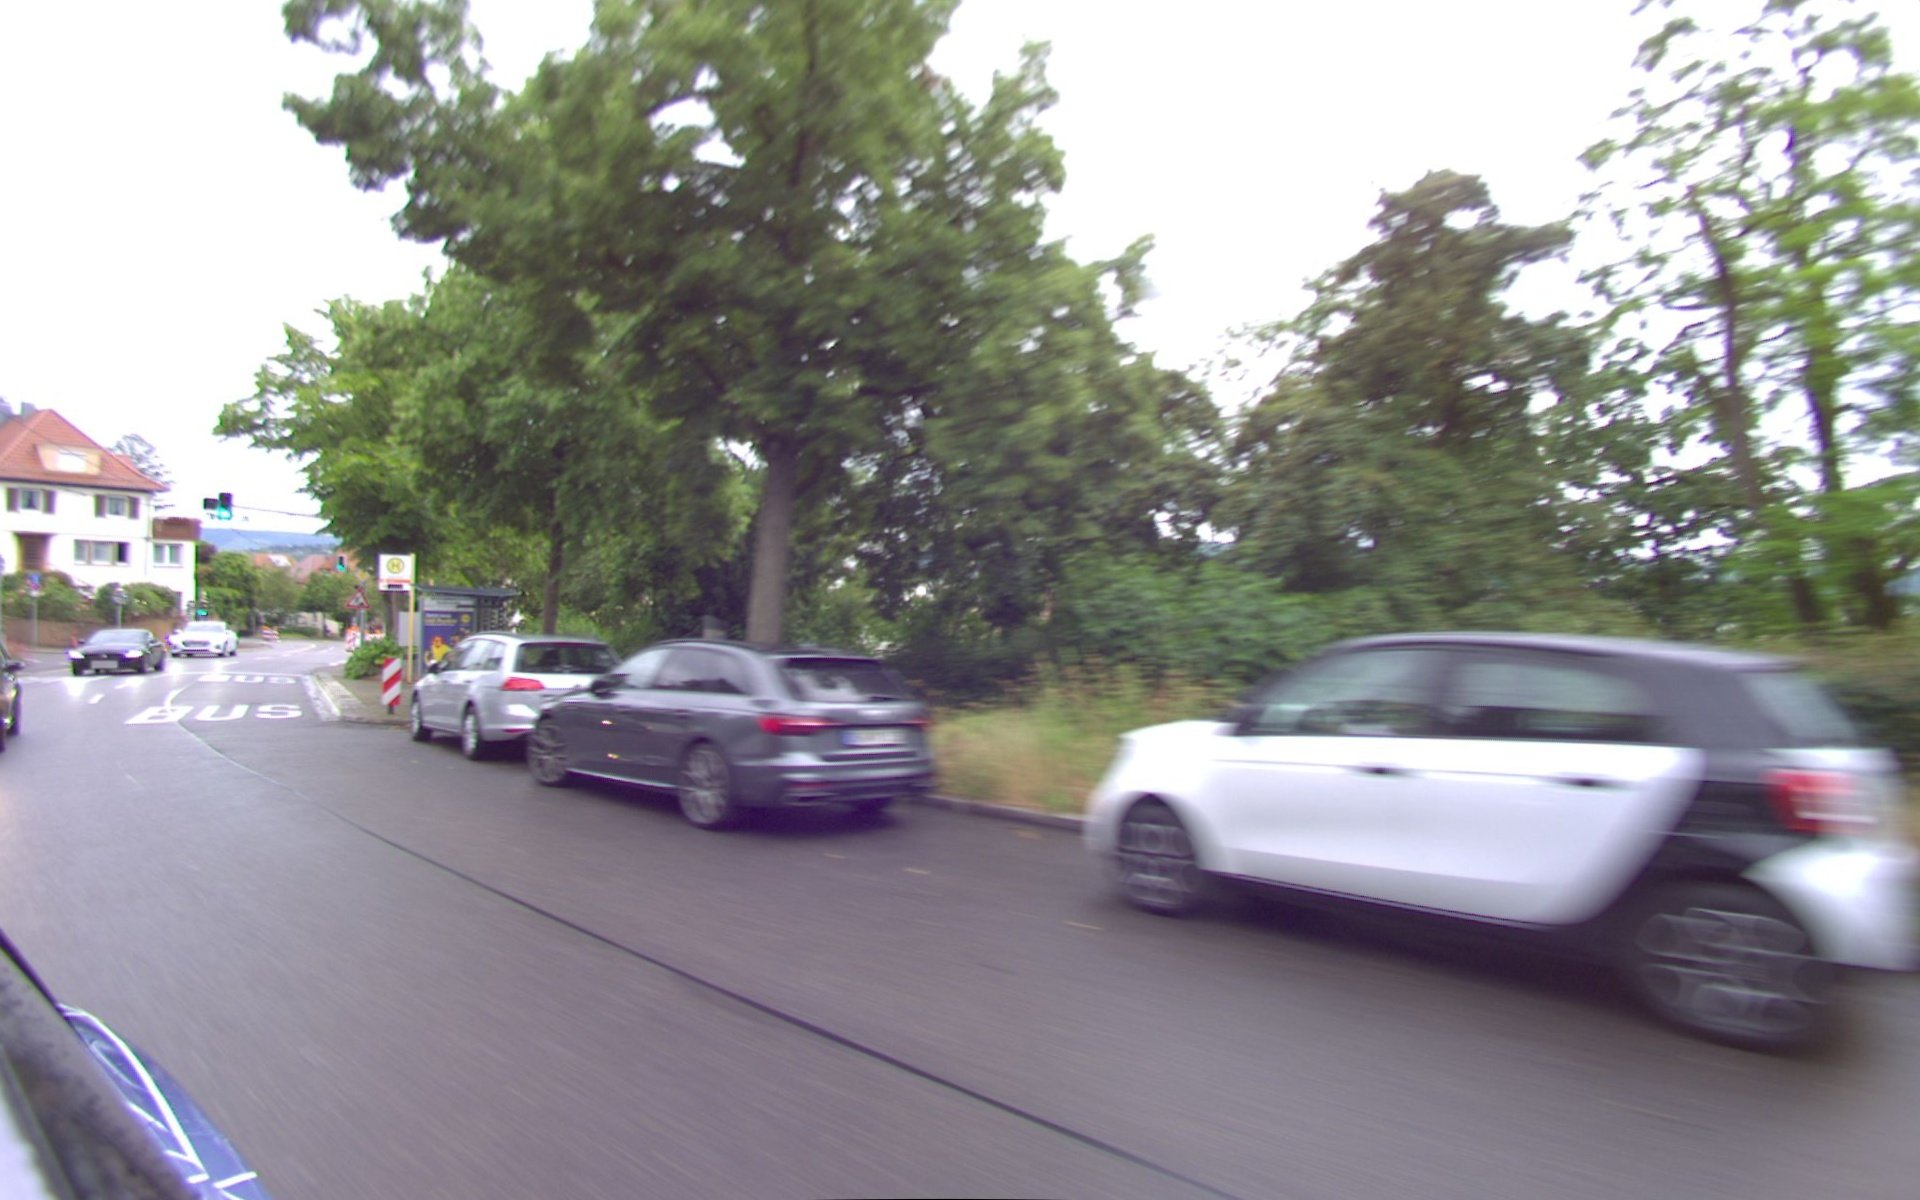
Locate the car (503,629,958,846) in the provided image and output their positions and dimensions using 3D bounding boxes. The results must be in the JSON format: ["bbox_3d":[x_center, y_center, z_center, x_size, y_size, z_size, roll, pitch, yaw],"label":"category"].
[{"bbox_3d":[-2.218,1.002,8.836,4.503,1.391,1.664,-1,-5,45],"label":"car"}]

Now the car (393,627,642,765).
[{"bbox_3d":[-5.742,1.141,12.828,1.635,1.441,4.381,3,-5,-41],"label":"car"}]

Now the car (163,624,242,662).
[{"bbox_3d":[-34.882,1.951,46.737,1.997,1.641,4.242,0,-2,-24],"label":"car"}]

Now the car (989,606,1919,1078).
[{"bbox_3d":[2.278,0.864,5.286,4.207,1.521,1.664,-1,-5,44],"label":"car"}]

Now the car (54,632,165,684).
[{"bbox_3d":[-27.103,1.791,32.404,1.997,1.474,4.012,0,-1,-29],"label":"car"}]

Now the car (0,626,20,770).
[{"bbox_3d":[-12.729,1.078,12.222,4.385,1.437,1.779,1,-3,45],"label":"car"}]
